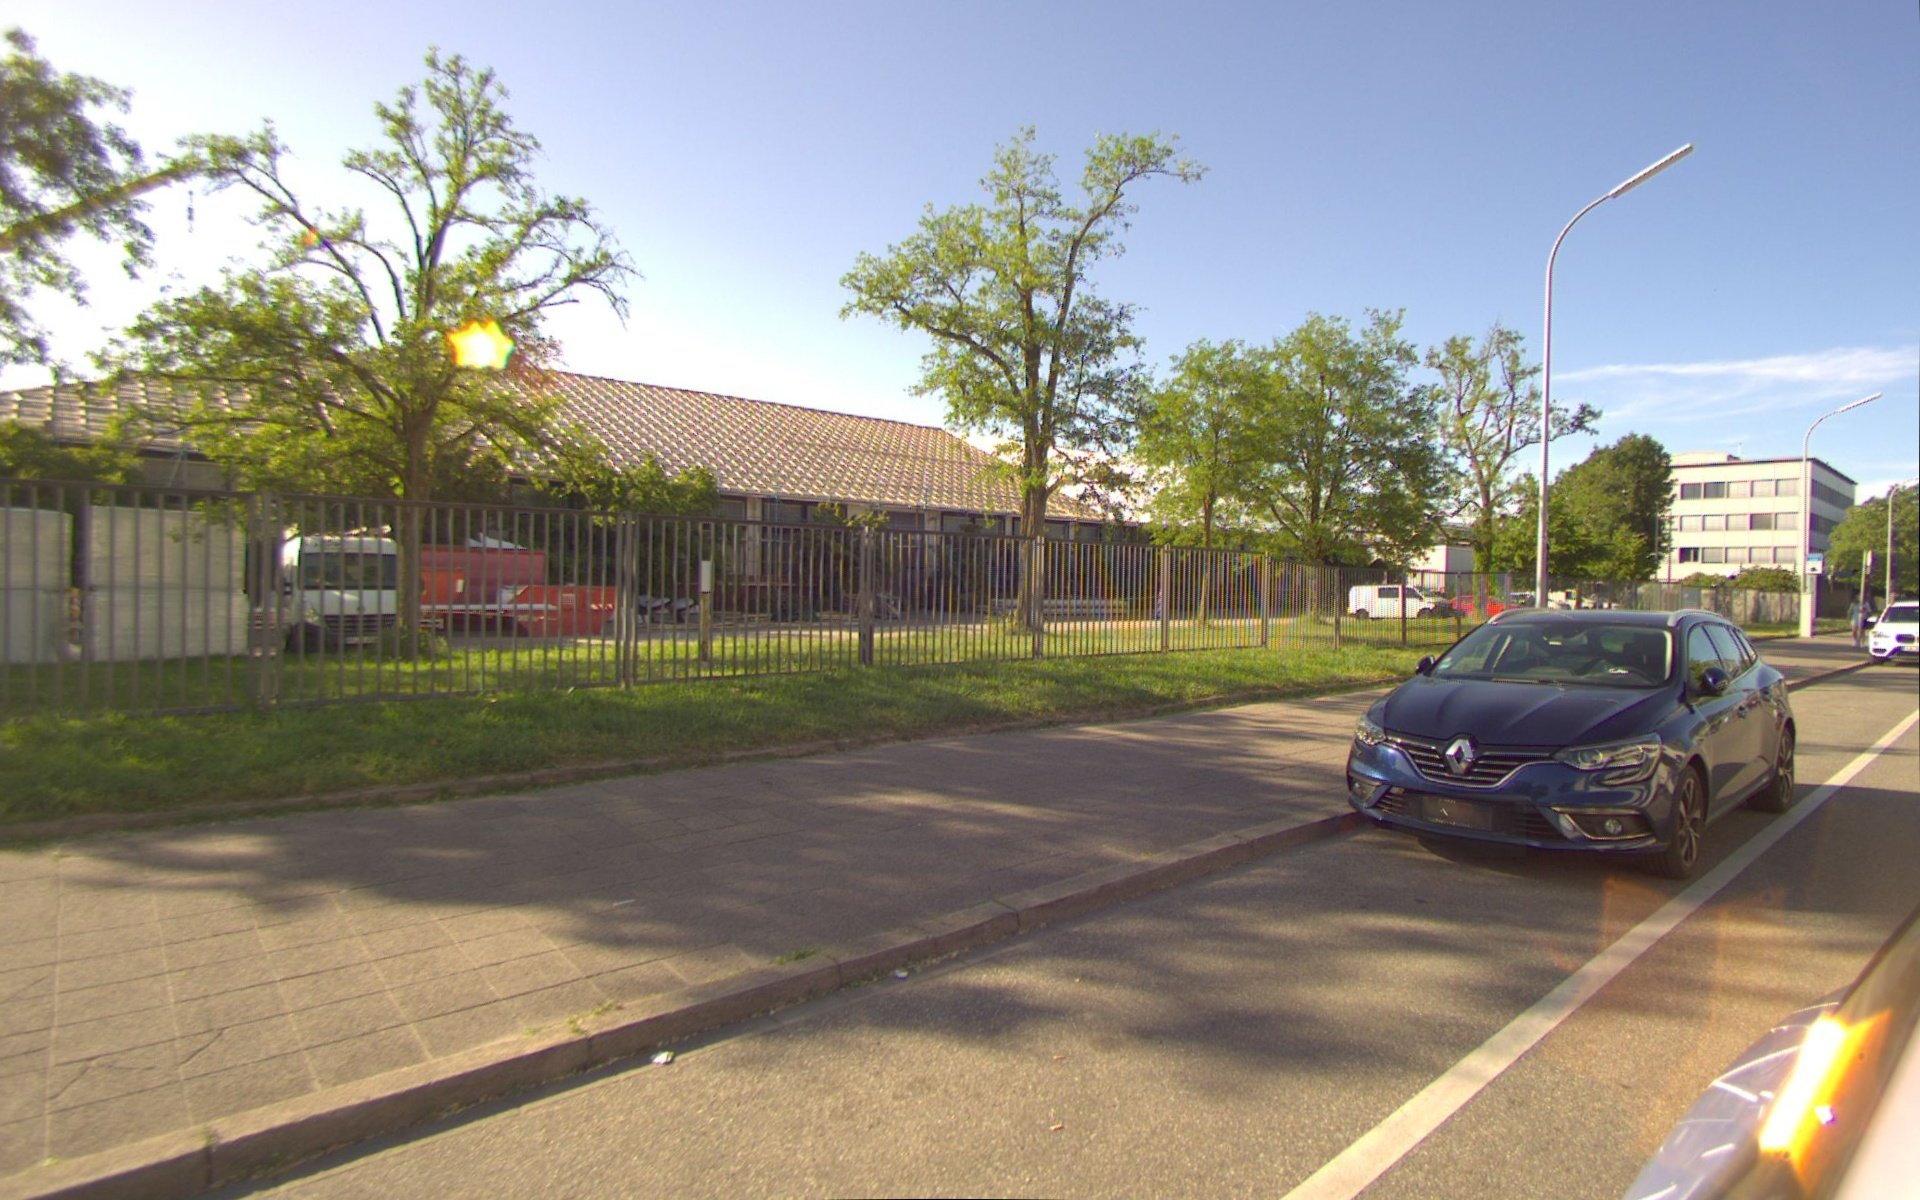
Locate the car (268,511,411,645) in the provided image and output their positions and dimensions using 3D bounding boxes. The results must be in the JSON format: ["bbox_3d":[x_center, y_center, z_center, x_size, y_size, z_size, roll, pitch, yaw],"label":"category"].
[{"bbox_3d":[-12.113,-0.404,19.570,1.962,2.230,5.302,2,0,-35],"label":"car"}]

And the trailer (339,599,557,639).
[{"bbox_3d":[-13.557,0.456,26.923,5.010,0.931,1.905,0,1,-34],"label":"trailer"}]

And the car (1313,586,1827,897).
[{"bbox_3d":[4.304,0.680,6.864,4.140,1.471,1.820,0,-1,-41],"label":"car"}]

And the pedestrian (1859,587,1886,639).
[{"bbox_3d":[29.107,0.395,32.274,0.671,1.632,0.540,0,0,-41],"label":"pedestrian"}]

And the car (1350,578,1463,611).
[{"bbox_3d":[23.122,-0.270,52.544,2.061,1.665,4.969,0,0,-44],"label":"car"}]

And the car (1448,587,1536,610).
[{"bbox_3d":[30.773,-0.079,58.584,1.798,1.268,4.145,0,0,-44],"label":"car"}]

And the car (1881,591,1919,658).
[{"bbox_3d":[24.712,0.597,25.601,4.191,1.608,1.814,0,0,-44],"label":"car"}]
